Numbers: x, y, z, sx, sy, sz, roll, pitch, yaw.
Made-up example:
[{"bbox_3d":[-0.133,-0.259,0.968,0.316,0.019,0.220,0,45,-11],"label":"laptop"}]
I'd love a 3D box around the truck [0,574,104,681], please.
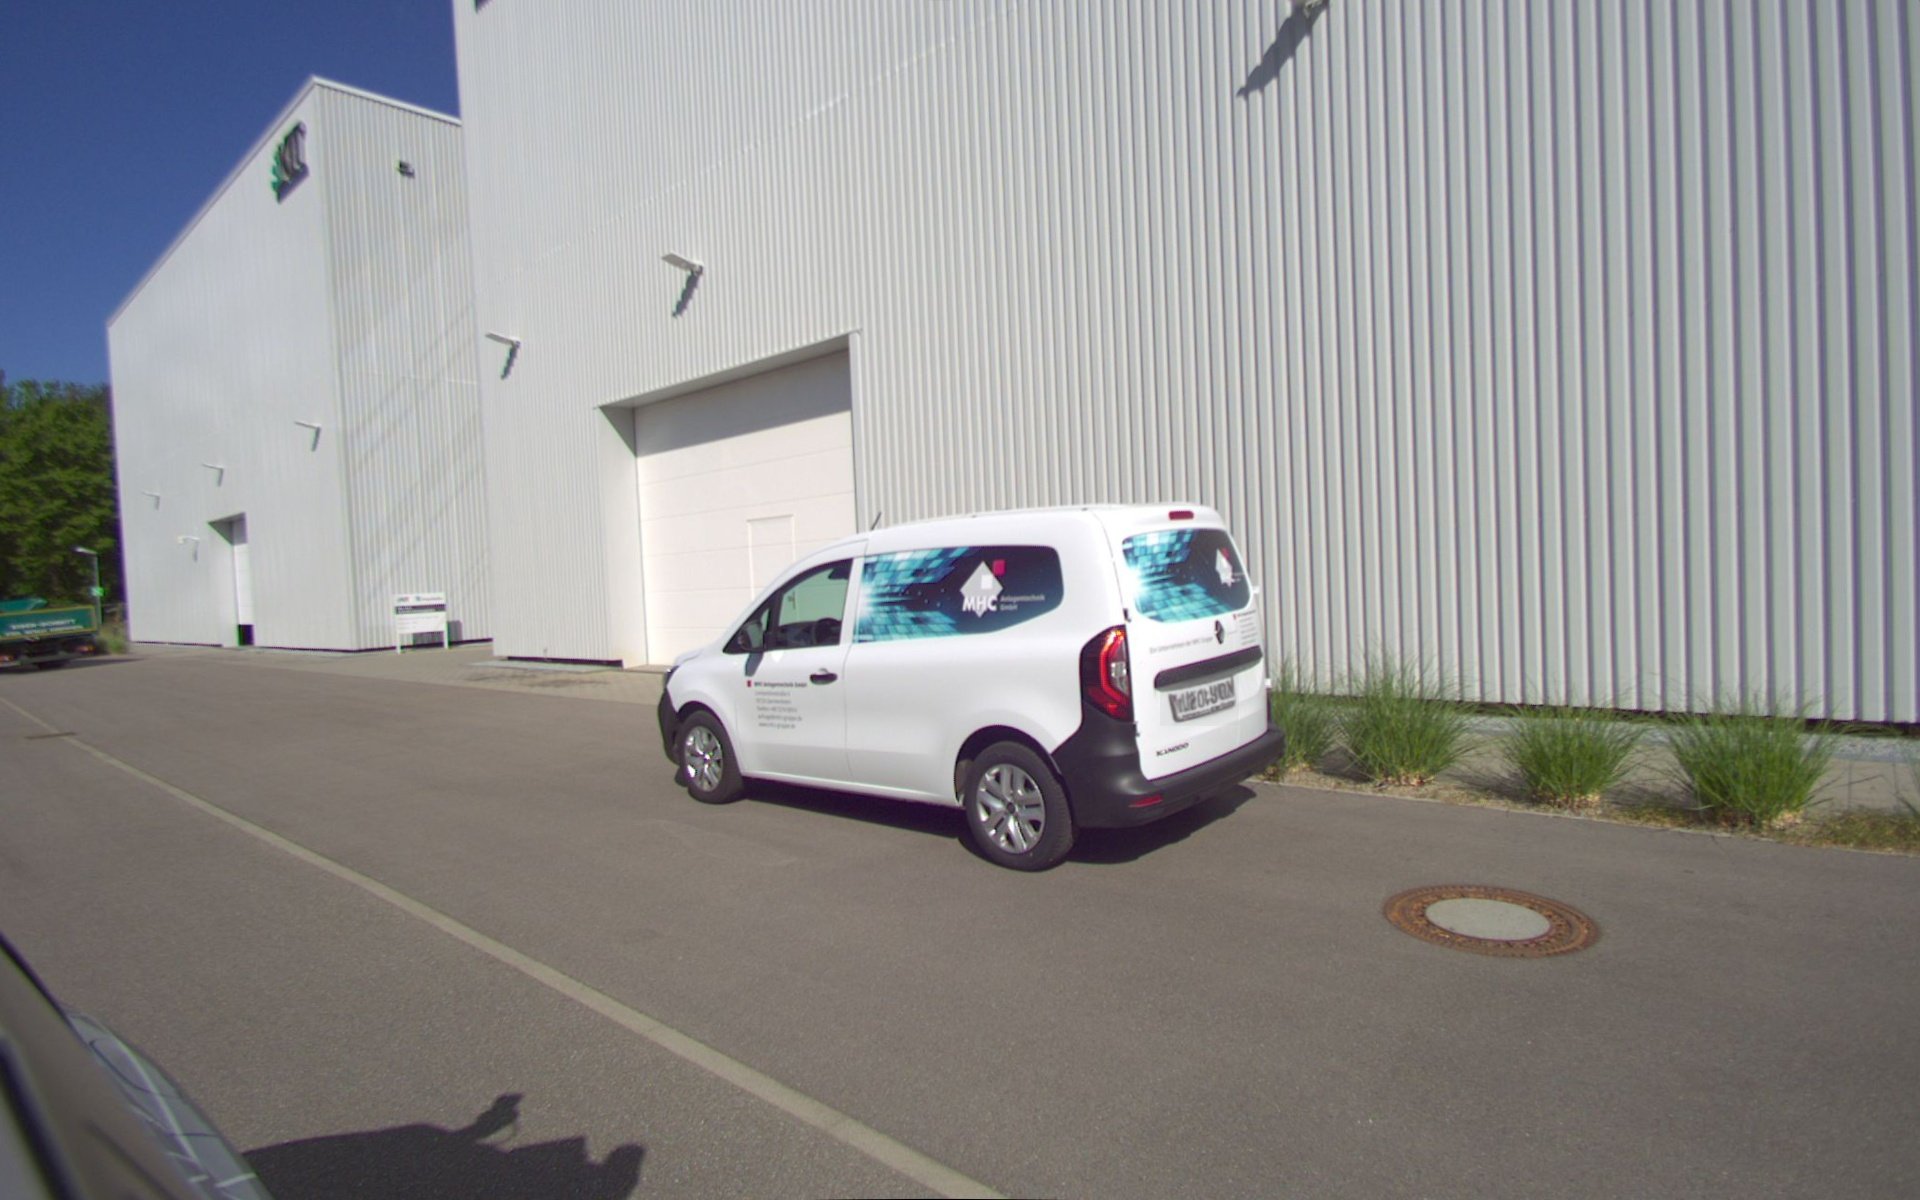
[{"bbox_3d":[-29.601,0.930,30.440,9.655,2.736,2.565,-3,3,30],"label":"truck"}]

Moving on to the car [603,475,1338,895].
[{"bbox_3d":[-0.222,0.348,6.582,4.596,1.803,1.908,-2,3,42],"label":"car"}]
